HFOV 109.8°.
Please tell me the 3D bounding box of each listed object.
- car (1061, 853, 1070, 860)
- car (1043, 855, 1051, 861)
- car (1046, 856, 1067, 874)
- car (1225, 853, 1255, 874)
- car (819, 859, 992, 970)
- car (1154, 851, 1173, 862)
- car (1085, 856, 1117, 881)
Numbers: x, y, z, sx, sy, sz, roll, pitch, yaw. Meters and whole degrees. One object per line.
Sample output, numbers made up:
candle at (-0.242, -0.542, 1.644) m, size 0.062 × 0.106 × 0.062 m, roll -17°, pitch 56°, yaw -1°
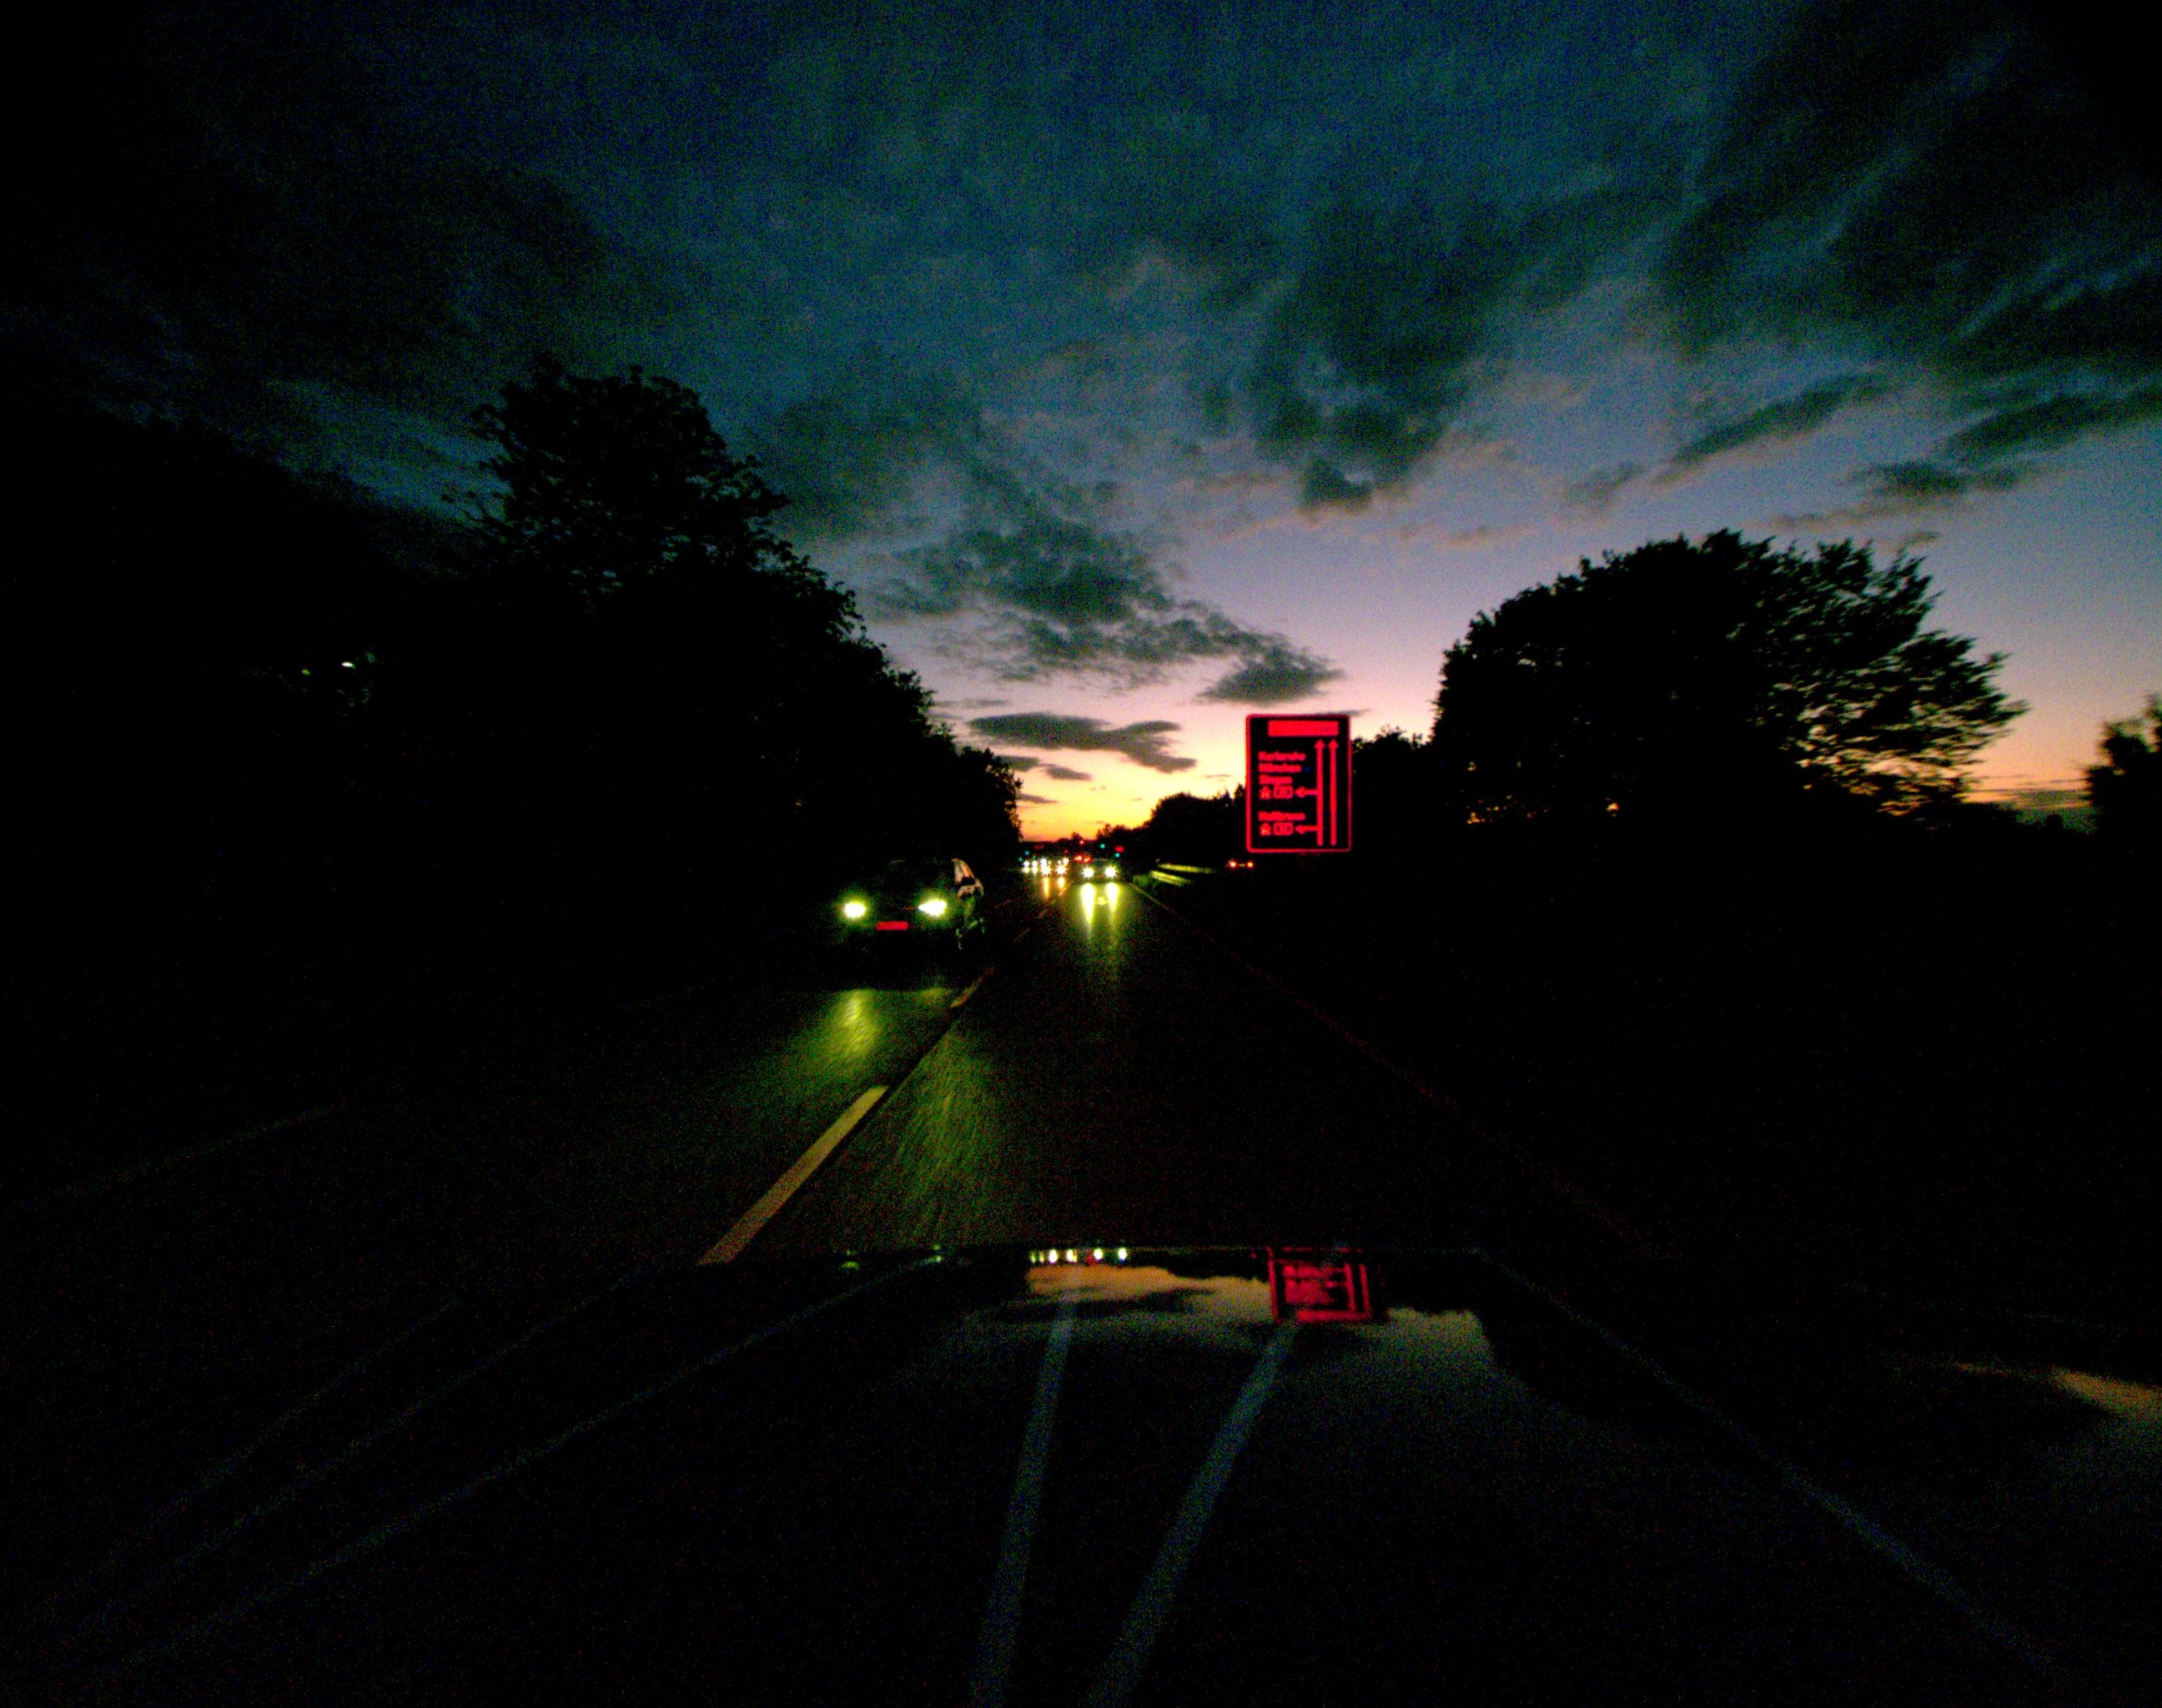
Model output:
car at (-3.734, 0.631, 184.301) m, size 1.999 × 1.602 × 4.501 m, roll -2°, pitch 0°, yaw -1°
car at (-9.066, 1.056, 202.055) m, size 1.999 × 1.423 × 4.501 m, roll 0°, pitch 0°, yaw -1°
car at (-2.131, 0.981, 66.970) m, size 1.624 × 1.460 × 3.871 m, roll -2°, pitch 0°, yaw 1°
car at (13.684, 0.795, 65.613) m, size 1.799 × 1.661 × 4.502 m, roll -1°, pitch 0°, yaw 2°
car at (-2.973, 0.950, 14.024) m, size 1.998 × 1.600 × 4.711 m, roll -2°, pitch 0°, yaw 1°
car at (10.967, 0.313, 100.844) m, size 1.926 × 1.423 × 4.501 m, roll 0°, pitch 0°, yaw -1°
car at (1.222, 0.882, 49.206) m, size 1.901 × 1.472 × 4.514 m, roll -2°, pitch 0°, yaw 0°
